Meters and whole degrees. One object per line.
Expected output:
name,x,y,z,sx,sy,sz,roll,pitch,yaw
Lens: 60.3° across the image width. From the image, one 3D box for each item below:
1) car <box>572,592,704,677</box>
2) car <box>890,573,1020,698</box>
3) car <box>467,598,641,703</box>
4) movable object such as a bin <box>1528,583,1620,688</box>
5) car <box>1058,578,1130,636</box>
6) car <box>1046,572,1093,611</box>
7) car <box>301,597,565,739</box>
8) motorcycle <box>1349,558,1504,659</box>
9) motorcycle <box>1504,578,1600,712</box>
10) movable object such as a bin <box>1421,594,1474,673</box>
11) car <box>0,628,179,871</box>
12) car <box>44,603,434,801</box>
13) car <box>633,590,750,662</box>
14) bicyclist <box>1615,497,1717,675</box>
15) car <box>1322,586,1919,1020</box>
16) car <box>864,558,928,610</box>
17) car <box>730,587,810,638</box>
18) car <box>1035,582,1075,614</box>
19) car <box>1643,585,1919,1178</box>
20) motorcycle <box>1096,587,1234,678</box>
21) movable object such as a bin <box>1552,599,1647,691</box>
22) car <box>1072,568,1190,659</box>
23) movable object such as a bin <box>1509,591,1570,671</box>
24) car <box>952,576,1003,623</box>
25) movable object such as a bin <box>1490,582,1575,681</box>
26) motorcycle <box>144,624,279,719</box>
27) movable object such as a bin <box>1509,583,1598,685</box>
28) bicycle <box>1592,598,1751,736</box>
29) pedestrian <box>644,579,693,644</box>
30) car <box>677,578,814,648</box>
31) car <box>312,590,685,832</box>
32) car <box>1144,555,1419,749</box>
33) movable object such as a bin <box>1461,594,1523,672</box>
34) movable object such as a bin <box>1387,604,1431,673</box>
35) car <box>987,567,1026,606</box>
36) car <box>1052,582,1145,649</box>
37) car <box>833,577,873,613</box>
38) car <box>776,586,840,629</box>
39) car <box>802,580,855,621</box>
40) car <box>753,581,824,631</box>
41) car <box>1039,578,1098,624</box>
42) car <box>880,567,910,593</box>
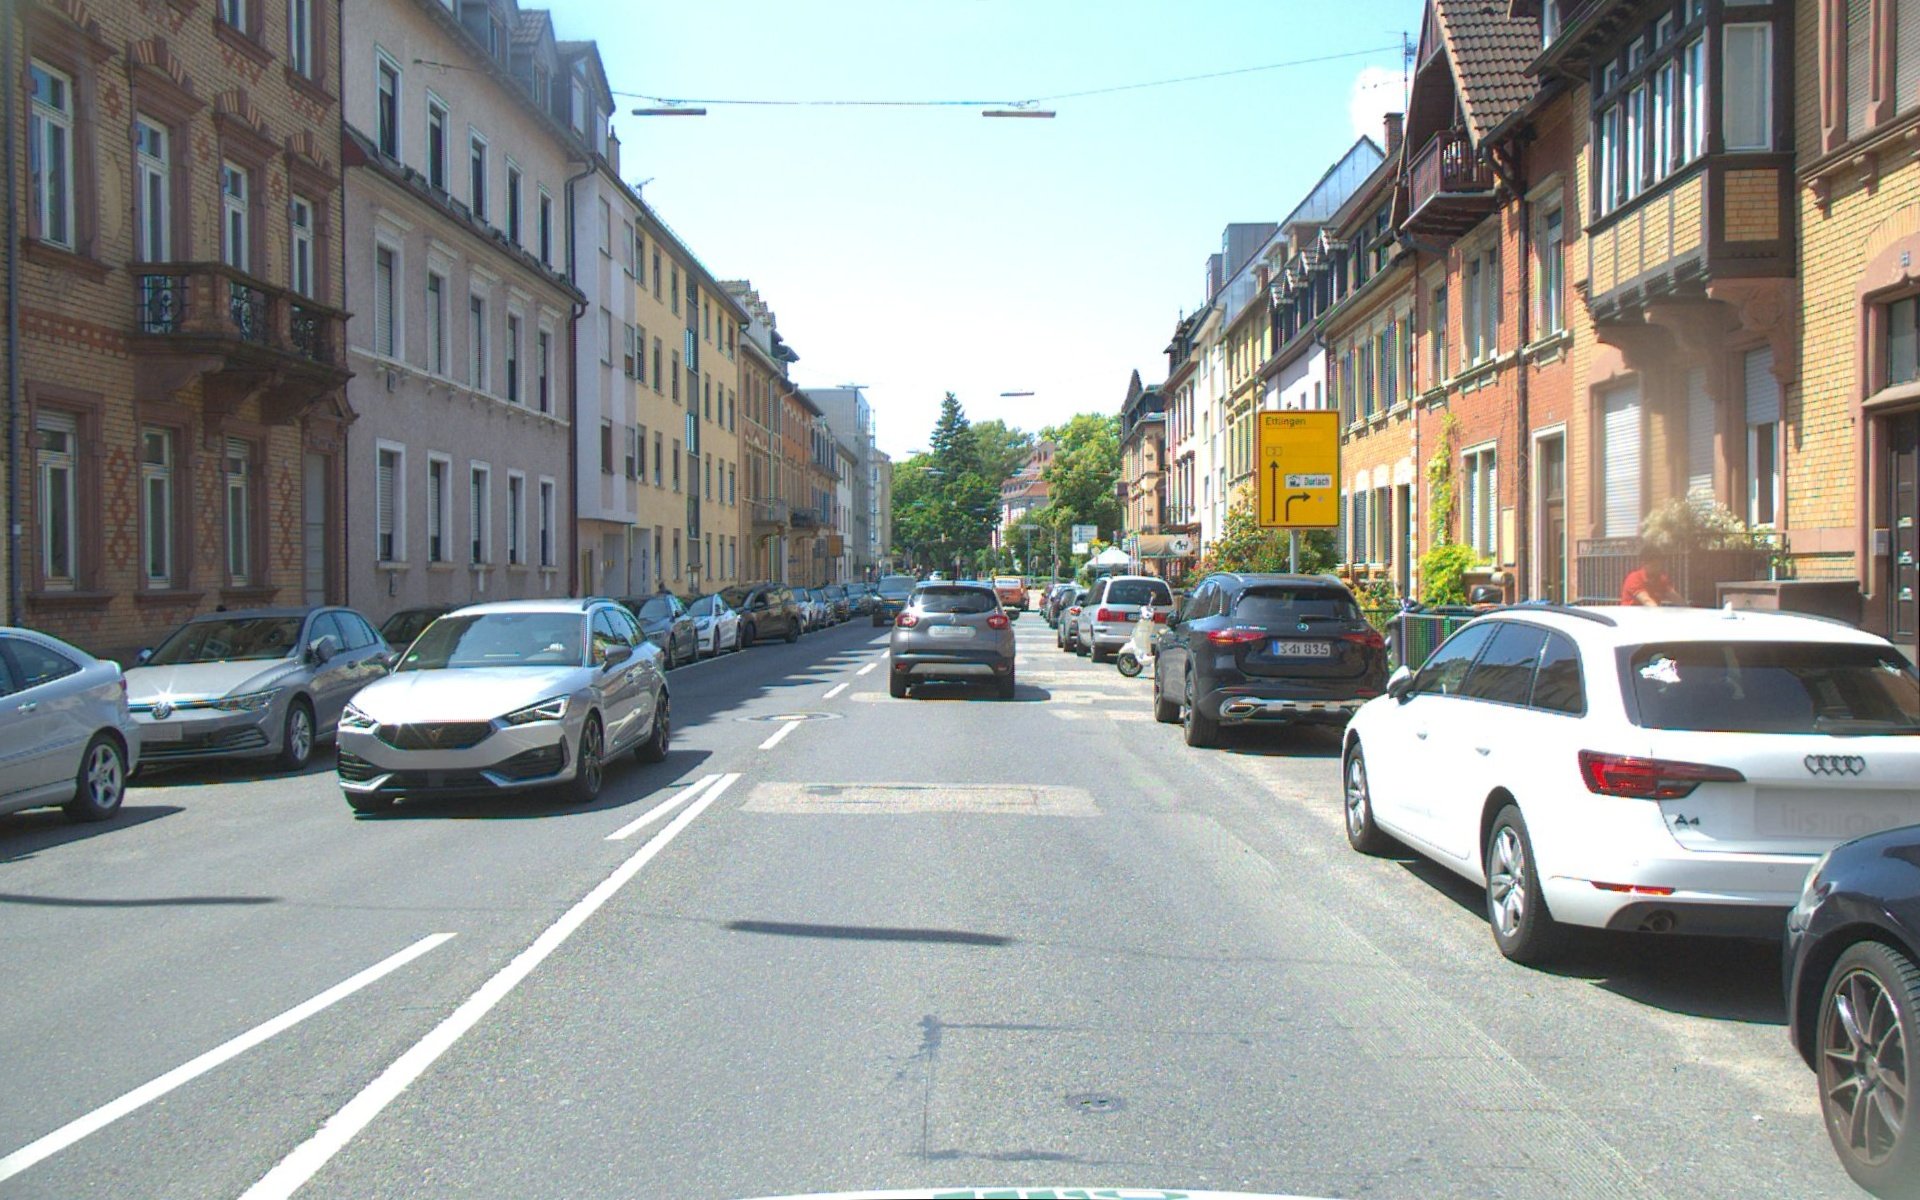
car,-6.374,0.632,33.226,1.803,1.447,4.645,-4,0,-2
car,-0.044,0.446,23.820,1.708,1.644,4.000,0,1,1
car,-6.580,0.758,27.292,1.803,1.447,4.501,-4,0,-2
movable object such as a bin,6.737,0.379,18.166,0.772,1.107,0.539,-2,1,-3
car,3.693,0.158,46.112,1.661,1.513,4.618,0,1,0
car,4.571,-0.365,69.411,1.822,1.580,4.001,0,1,2
car,-6.691,0.788,21.565,1.802,1.447,4.503,-5,1,1
motorcycle,7.274,0.121,25.856,2.086,1.433,0.937,-3,0,0
motorcycle,5.936,0.425,16.633,0.431,1.259,1.358,-3,1,0
movable object such as a bin,6.988,0.466,23.732,0.545,1.094,0.727,-1,1,1
car,-6.871,1.008,10.337,1.802,1.447,4.502,-3,1,-1
car,-6.773,0.860,16.164,1.803,1.446,4.501,-6,1,-1
car,-6.247,0.559,39.009,1.802,1.447,4.559,-4,0,2
bicyclist,6.162,-0.124,14.467,0.521,1.495,0.791,-2,1,1
car,3.115,0.691,8.084,1.681,1.439,4.590,-2,1,0
car,-2.408,-0.624,63.463,1.952,1.823,5.151,-2,1,3
car,-5.926,0.363,51.946,1.865,1.403,4.062,-3,1,1
car,4.550,-0.109,79.649,1.579,1.468,3.436,-1,1,-2
car,3.232,0.690,3.187,1.616,1.439,4.496,-1,0,-6
motorcycle,3.361,0.514,27.126,1.958,1.409,1.108,0,0,39
movable object such as a bin,6.777,0.469,17.550,0.772,0.923,0.539,-2,1,-3
car,3.522,0.219,34.901,1.823,1.778,4.616,0,1,-2
movable object such as a bin,8.299,0.434,23.710,0.596,1.095,0.761,-1,1,1
car,0.627,-0.056,63.121,1.775,1.649,4.441,-3,1,-1
movable object such as a bin,6.685,0.357,19.328,0.772,1.107,0.553,-2,1,-3
motorcycle,-9.310,0.862,20.660,0.698,1.071,1.937,-1,0,3
movable object such as a bin,6.722,0.378,18.751,0.772,1.107,0.543,-2,1,-3
bicycle,6.187,0.548,14.485,0.581,1.084,1.883,-2,1,1
pedestrian,-8.190,0.317,46.546,1.127,1.780,0.970,-2,1,3
car,-5.812,0.316,45.386,1.865,1.666,4.561,-3,1,18
car,-3.441,0.729,13.228,1.754,1.445,4.314,-3,1,-1
car,3.158,0.439,17.254,1.953,1.691,4.625,-2,1,0
movable object such as a bin,7.619,0.469,23.704,0.645,1.073,0.749,-1,1,1
movable object such as a bin,6.431,0.549,23.701,0.471,0.957,0.526,-1,1,1
car,2.611,-0.758,92.066,1.952,2.048,4.469,-2,1,3
car,3.307,0.331,40.271,1.822,1.513,4.309,0,1,-1
car,-5.392,-0.264,84.017,1.867,1.648,4.300,-3,1,-3
car,-5.753,0.270,63.055,1.866,1.425,4.755,-3,1,1
car,-5.736,-0.004,72.664,1.866,1.648,4.302,-3,1,0
car,-5.861,0.178,56.856,1.866,1.536,4.303,-3,1,1
car,3.781,0.005,58.295,1.822,1.490,4.618,0,1,0
car,-4.882,-1.481,124.206,1.865,1.853,4.304,-2,1,2
